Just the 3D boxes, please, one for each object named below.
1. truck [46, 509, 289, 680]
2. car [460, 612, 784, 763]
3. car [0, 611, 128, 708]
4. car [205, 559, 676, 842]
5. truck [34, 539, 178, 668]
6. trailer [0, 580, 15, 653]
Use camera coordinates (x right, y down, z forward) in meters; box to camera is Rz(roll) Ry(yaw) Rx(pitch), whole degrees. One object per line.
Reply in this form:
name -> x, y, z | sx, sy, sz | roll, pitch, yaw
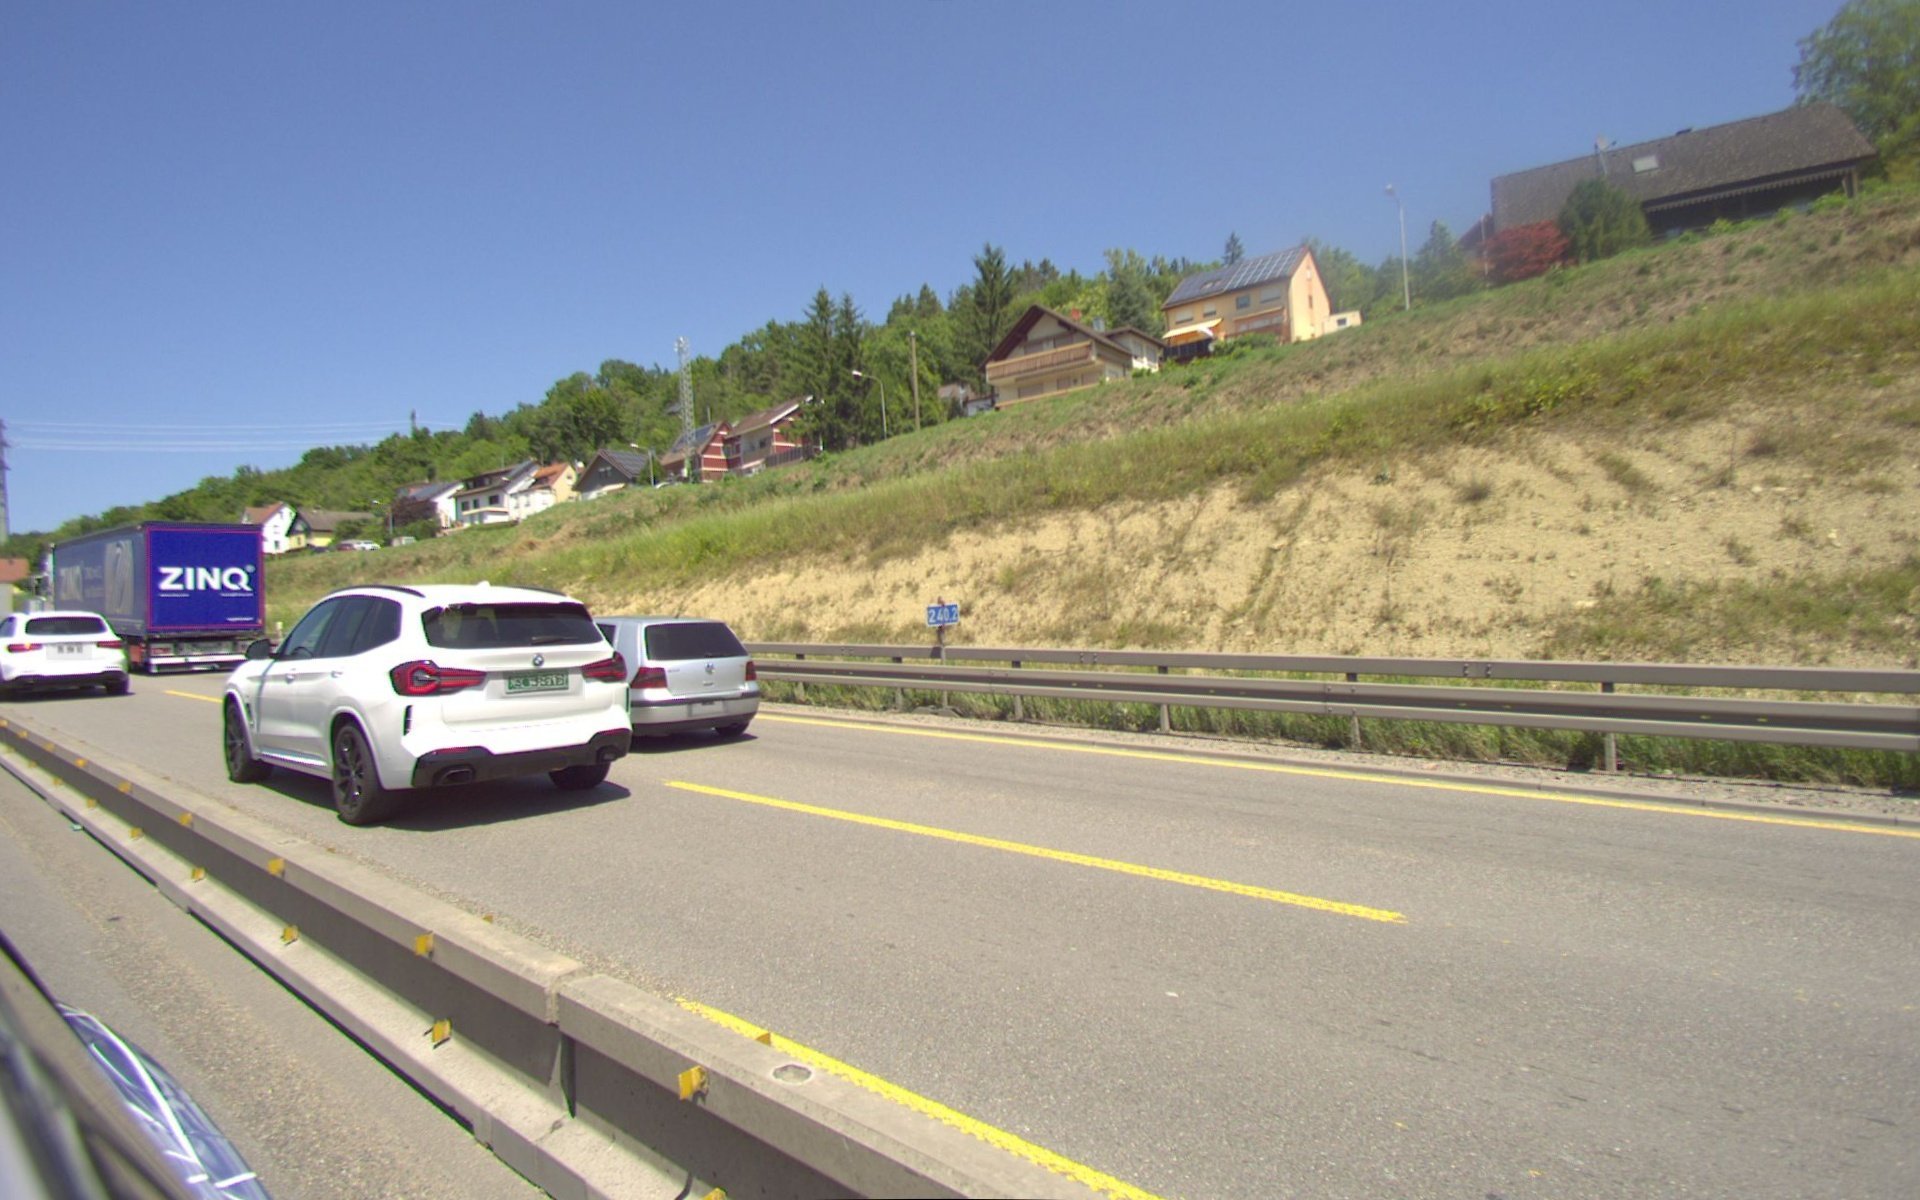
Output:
truck -> -24.402, -0.009, 30.641 | 13.970, 4.191, 3.210 | -1, -1, 41
car -> -3.950, 0.876, 11.516 | 3.964, 1.389, 1.684 | -1, 0, 41
car -> -17.756, 1.078, 19.611 | 4.359, 1.650, 1.794 | -1, -1, 41
car -> -4.475, 0.644, 8.366 | 4.558, 1.721, 1.872 | -1, 0, 41
truck -> -29.950, 0.130, 35.474 | 4.245, 4.191, 3.206 | -2, -1, 41
trailer -> -62.641, 1.144, 63.934 | 14.026, 4.319, 2.782 | -2, 0, 41
